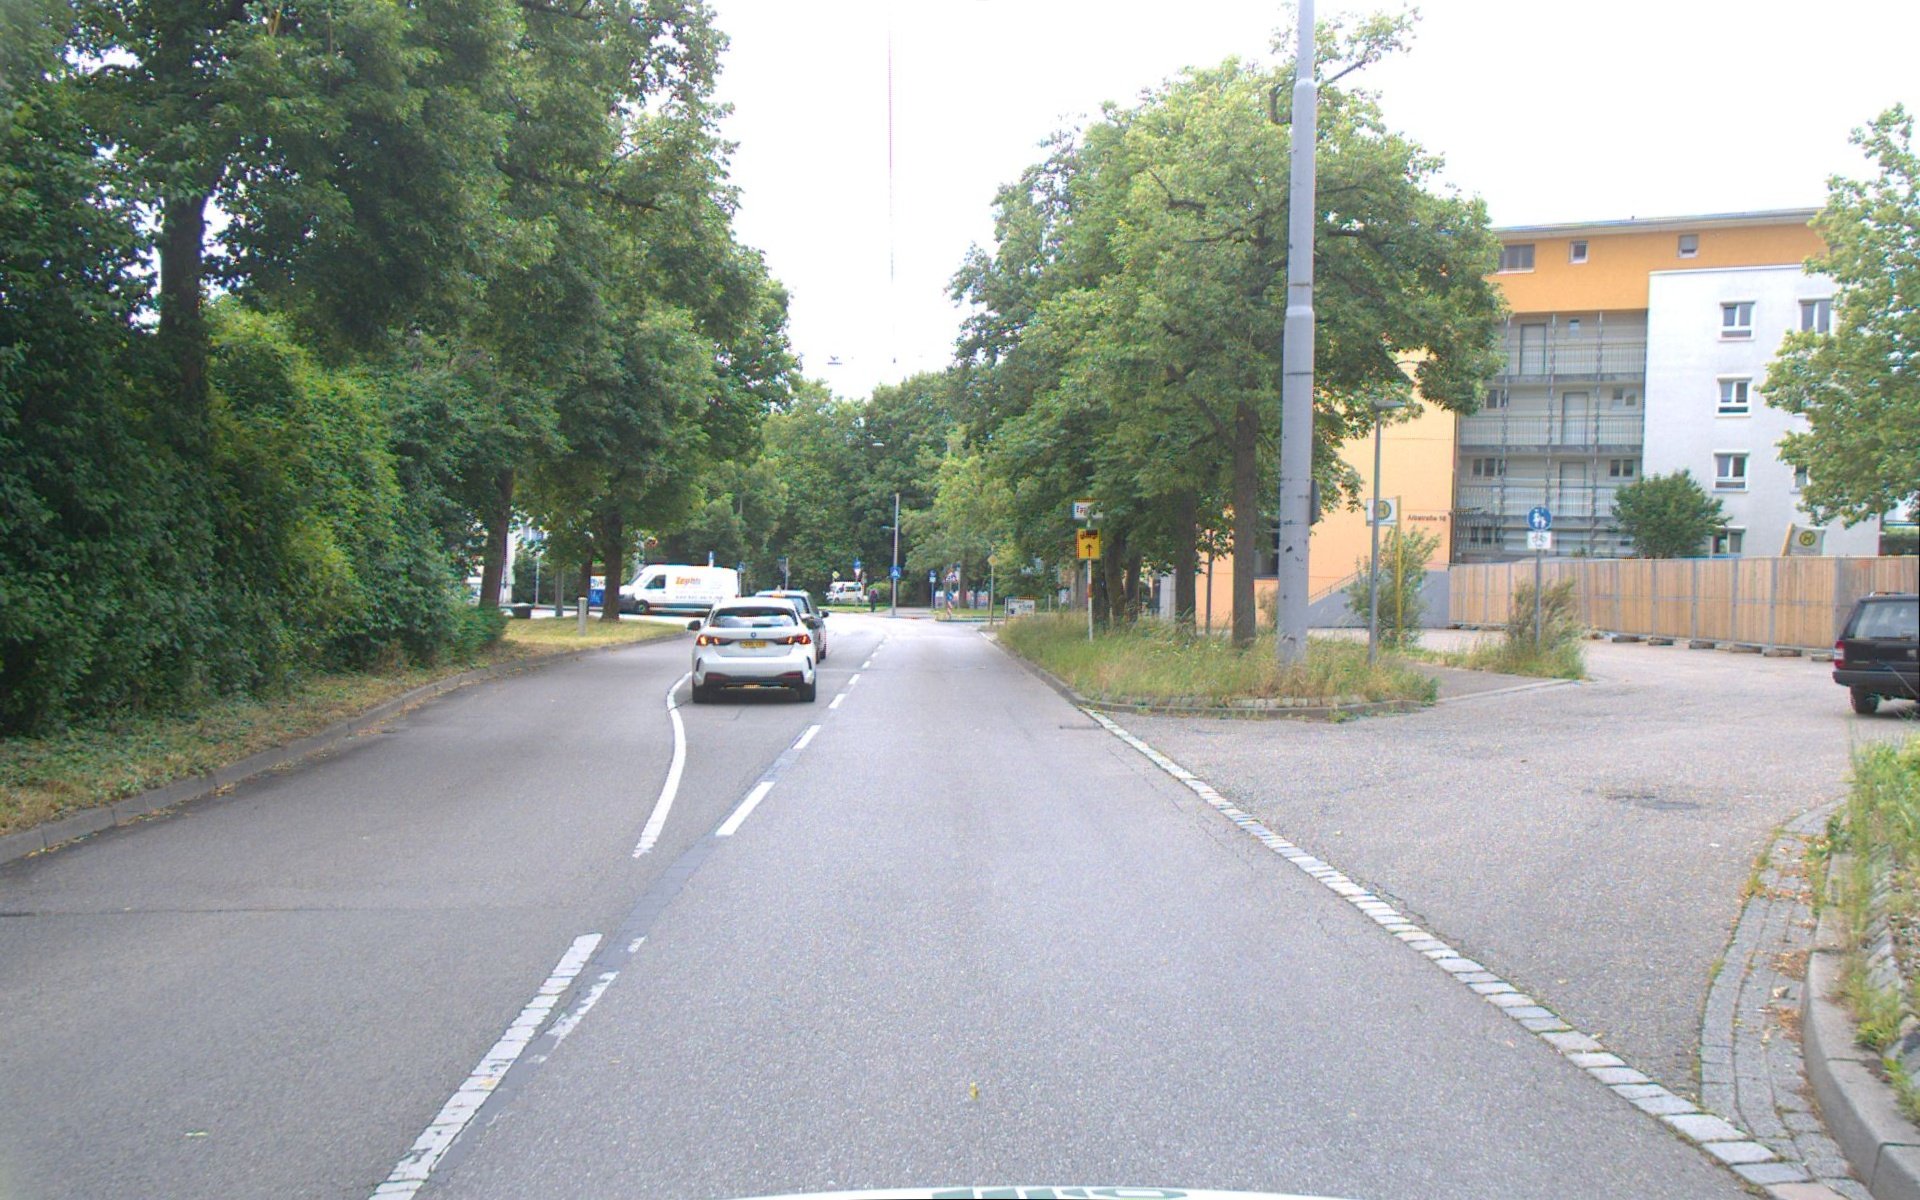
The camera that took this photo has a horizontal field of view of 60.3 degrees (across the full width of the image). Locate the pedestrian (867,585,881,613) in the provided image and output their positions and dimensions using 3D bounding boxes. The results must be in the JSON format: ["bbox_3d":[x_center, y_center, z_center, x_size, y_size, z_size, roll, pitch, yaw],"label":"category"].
[{"bbox_3d":[-6.080,-0.068,117.310,0.906,1.903,1.018,-2,3,-5],"label":"pedestrian"}]

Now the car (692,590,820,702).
[{"bbox_3d":[-3.032,0.633,24.985,1.761,1.544,4.202,0,0,-6],"label":"car"}]

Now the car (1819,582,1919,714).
[{"bbox_3d":[12.702,0.543,21.086,1.840,1.543,4.709,0,0,44],"label":"car"}]

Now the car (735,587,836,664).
[{"bbox_3d":[-3.897,0.535,37.557,1.884,1.601,3.999,1,1,-1],"label":"car"}]

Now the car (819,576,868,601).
[{"bbox_3d":[-12.488,-1.204,177.229,2.097,2.337,5.362,5,1,37],"label":"car"}]

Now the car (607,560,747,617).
[{"bbox_3d":[-14.592,-0.577,85.641,6.911,2.565,2.057,2,2,-39],"label":"car"}]
